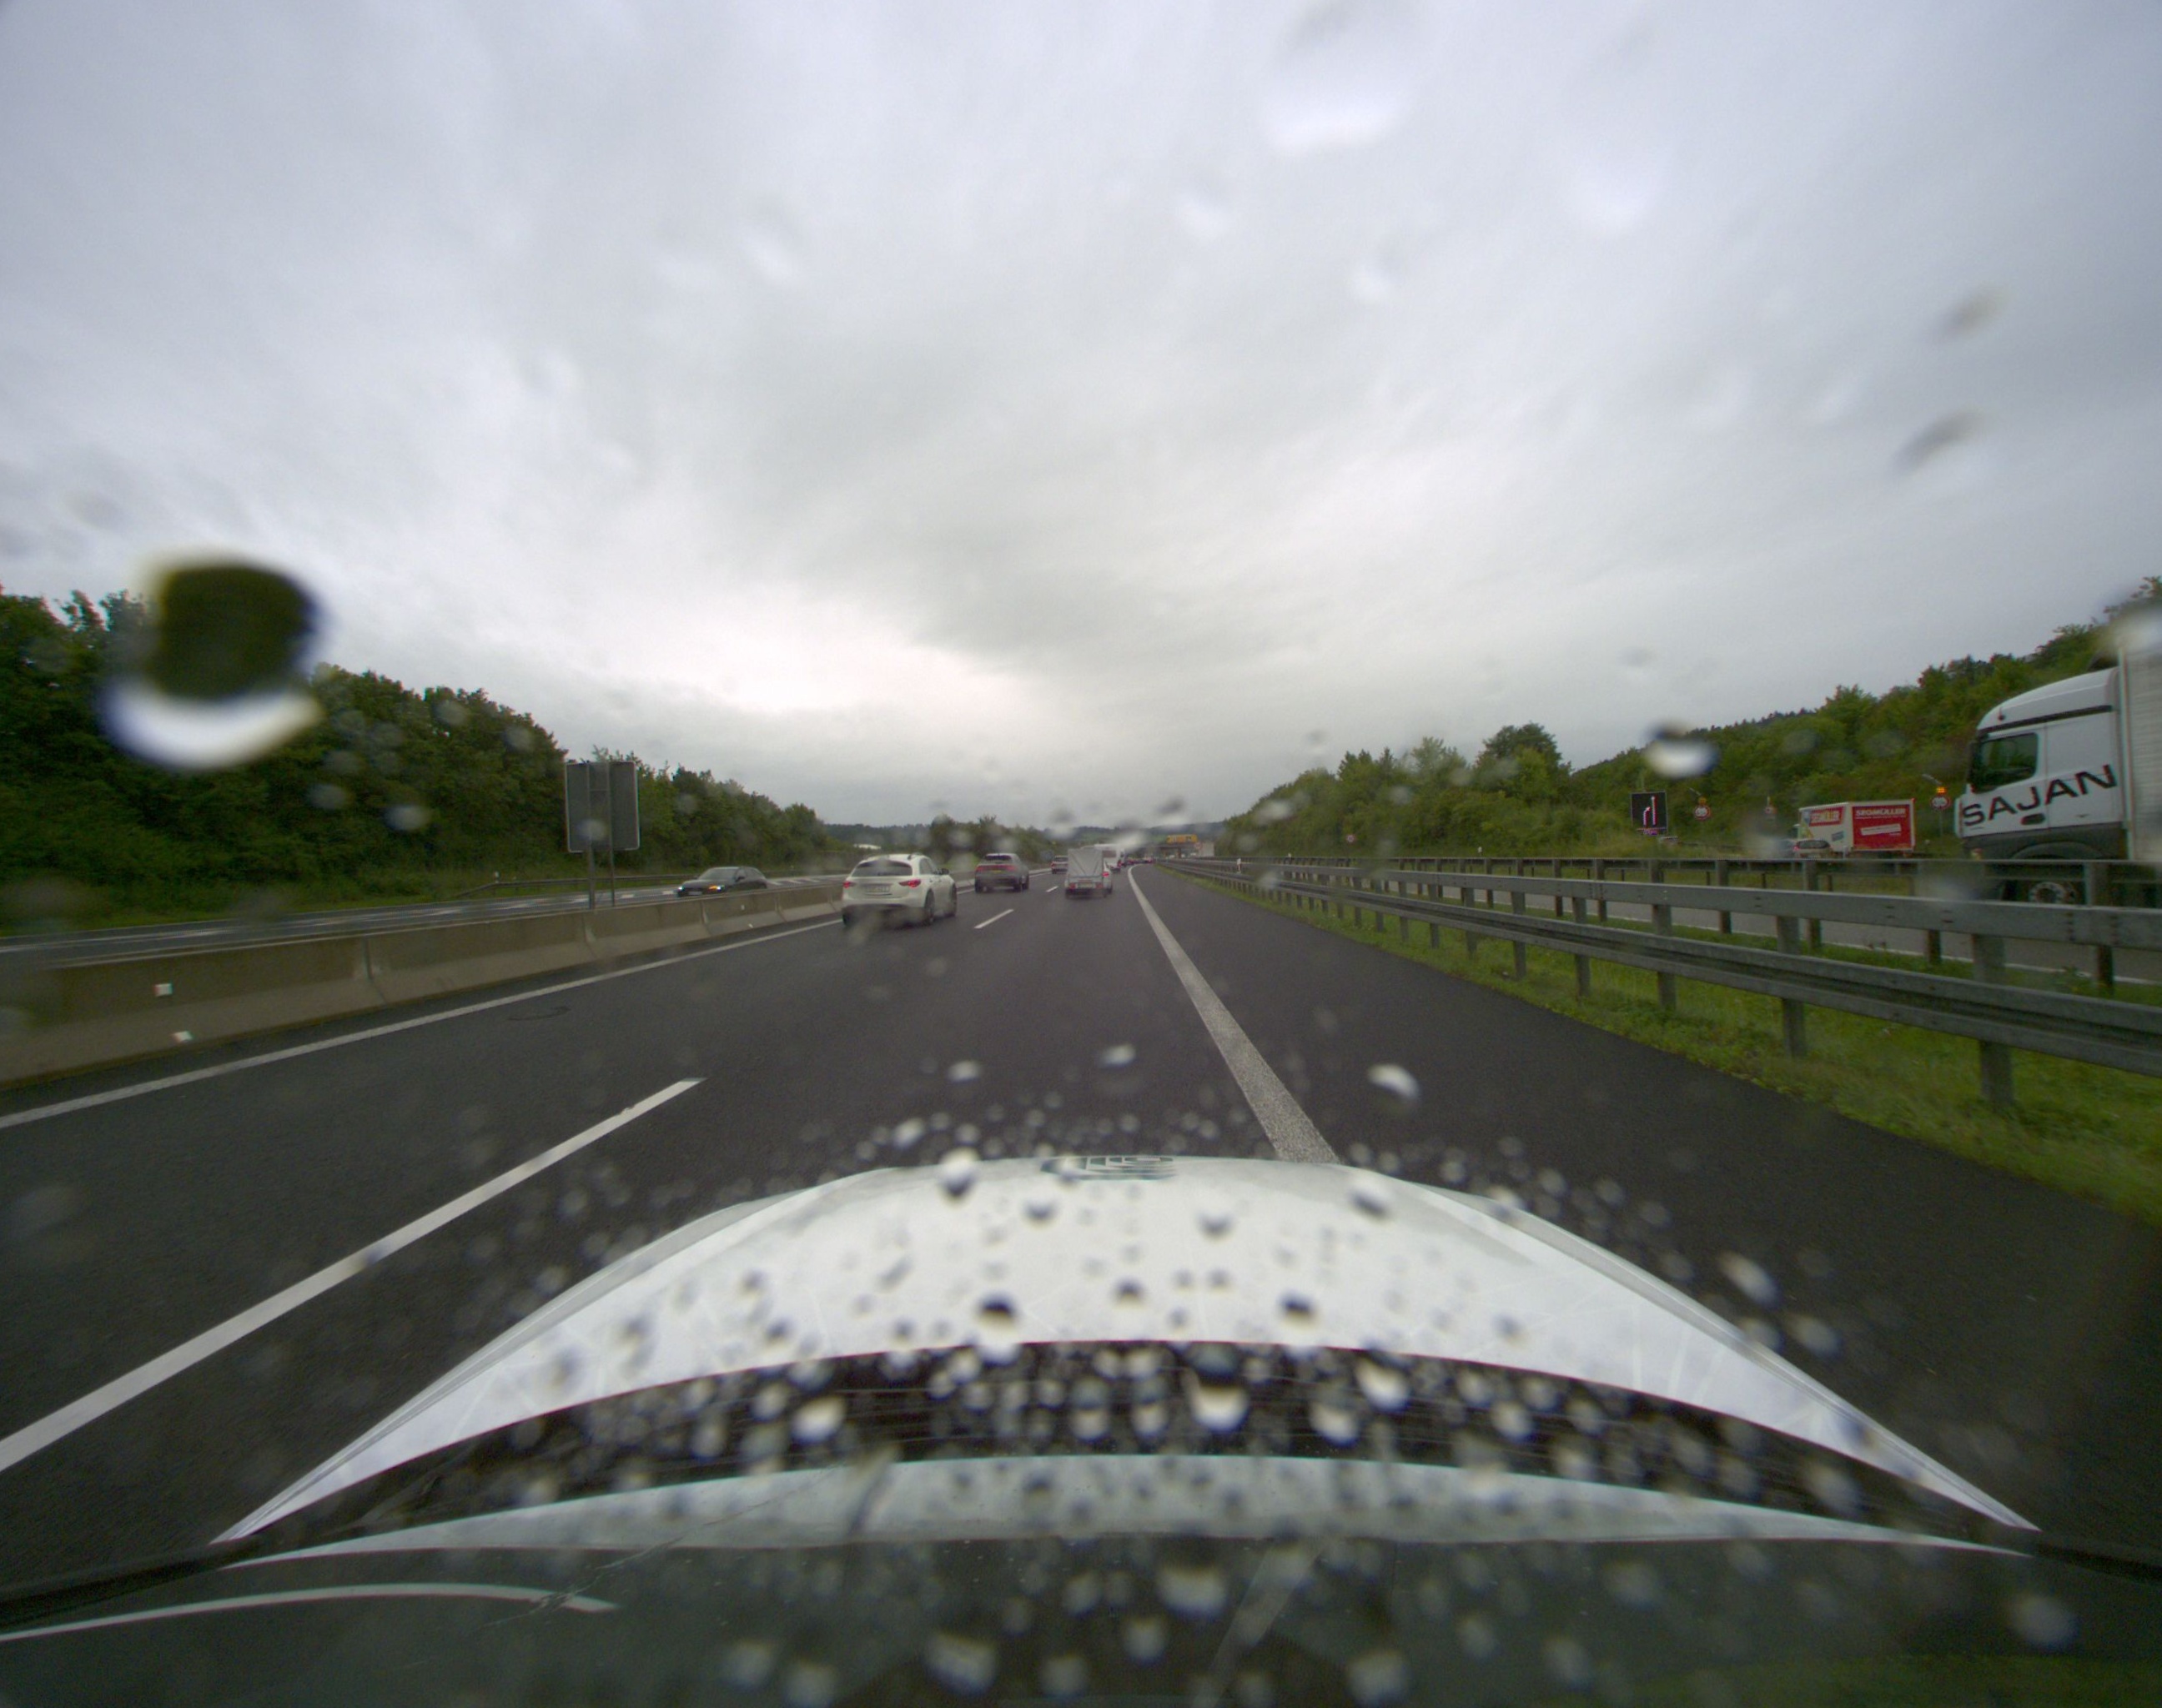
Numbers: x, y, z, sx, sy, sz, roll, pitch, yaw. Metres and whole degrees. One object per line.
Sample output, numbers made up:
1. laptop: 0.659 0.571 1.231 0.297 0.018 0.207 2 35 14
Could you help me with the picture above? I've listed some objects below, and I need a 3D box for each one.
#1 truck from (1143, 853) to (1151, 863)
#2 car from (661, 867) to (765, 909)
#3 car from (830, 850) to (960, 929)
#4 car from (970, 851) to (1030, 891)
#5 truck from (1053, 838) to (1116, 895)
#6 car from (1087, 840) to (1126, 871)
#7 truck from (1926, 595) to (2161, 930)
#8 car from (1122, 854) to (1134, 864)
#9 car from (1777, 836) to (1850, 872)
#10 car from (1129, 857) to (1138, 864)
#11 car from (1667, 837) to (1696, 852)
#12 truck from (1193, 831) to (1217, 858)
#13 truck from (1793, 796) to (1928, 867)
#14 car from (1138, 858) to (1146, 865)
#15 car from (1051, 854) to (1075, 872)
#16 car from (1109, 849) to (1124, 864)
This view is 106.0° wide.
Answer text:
1. truck: 20.696 1.194 254.966 2.266 3.082 7.258 -1 -1 6
2. car: -14.333 1.288 32.024 1.893 1.405 4.382 -1 0 3
3. car: -4.307 0.779 19.636 1.969 1.639 4.501 -1 0 1
4. car: -3.603 0.732 36.994 2.166 1.631 4.501 -1 0 1
5. truck: 0.276 0.446 32.523 2.010 1.985 7.220 -1 0 4
6. car: 2.364 0.120 72.901 3.002 2.616 6.084 -2 0 6
7. truck: 15.514 -1.208 8.166 3.424 4.289 10.422 -1 0 2
8. car: 8.166 0.815 140.496 1.984 1.750 4.005 0 -1 5
9. car: 36.658 -0.006 40.881 1.842 1.659 4.501 -2 0 31
10. car: 12.553 1.573 193.868 1.984 1.750 4.005 -1 -1 5
11. car: 63.028 -0.968 85.534 1.842 1.447 4.183 -2 0 29
12. truck: 24.645 -1.932 162.250 4.074 5.103 10.478 -1 0 5
13. truck: 42.024 -1.122 44.305 2.871 3.395 9.029 -1 0 28
14. car: 17.384 2.160 231.594 1.983 1.750 4.007 -1 -1 6
15. car: -1.660 0.801 74.684 1.893 1.613 4.019 -1 0 2
16. car: 5.056 0.366 115.886 1.986 2.036 4.152 0 -1 1
